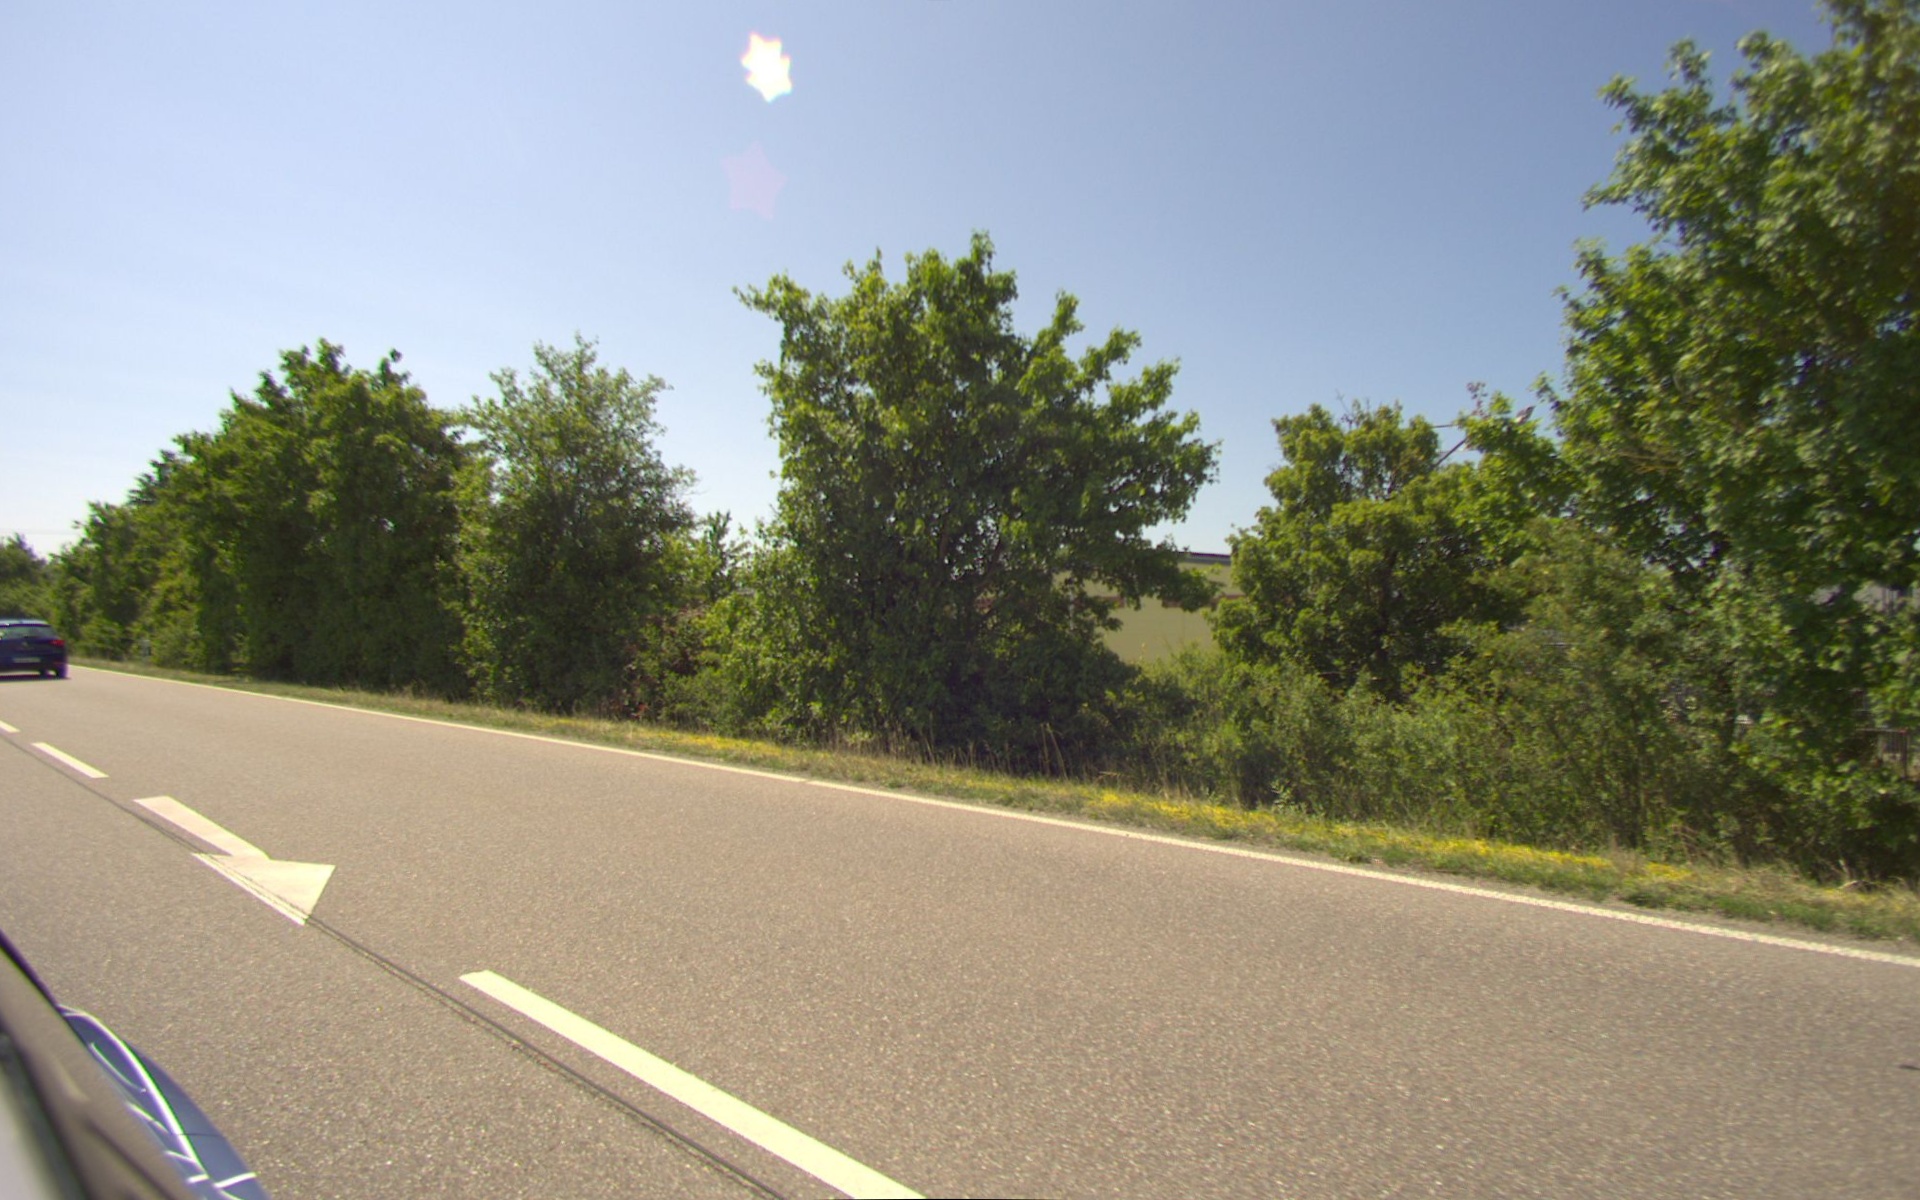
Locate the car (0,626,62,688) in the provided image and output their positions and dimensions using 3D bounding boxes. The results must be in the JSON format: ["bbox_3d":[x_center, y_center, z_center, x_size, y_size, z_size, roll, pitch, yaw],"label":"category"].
[{"bbox_3d":[-23.799,1.384,25.300,3.999,1.417,1.635,-1,-1,42],"label":"car"}]
